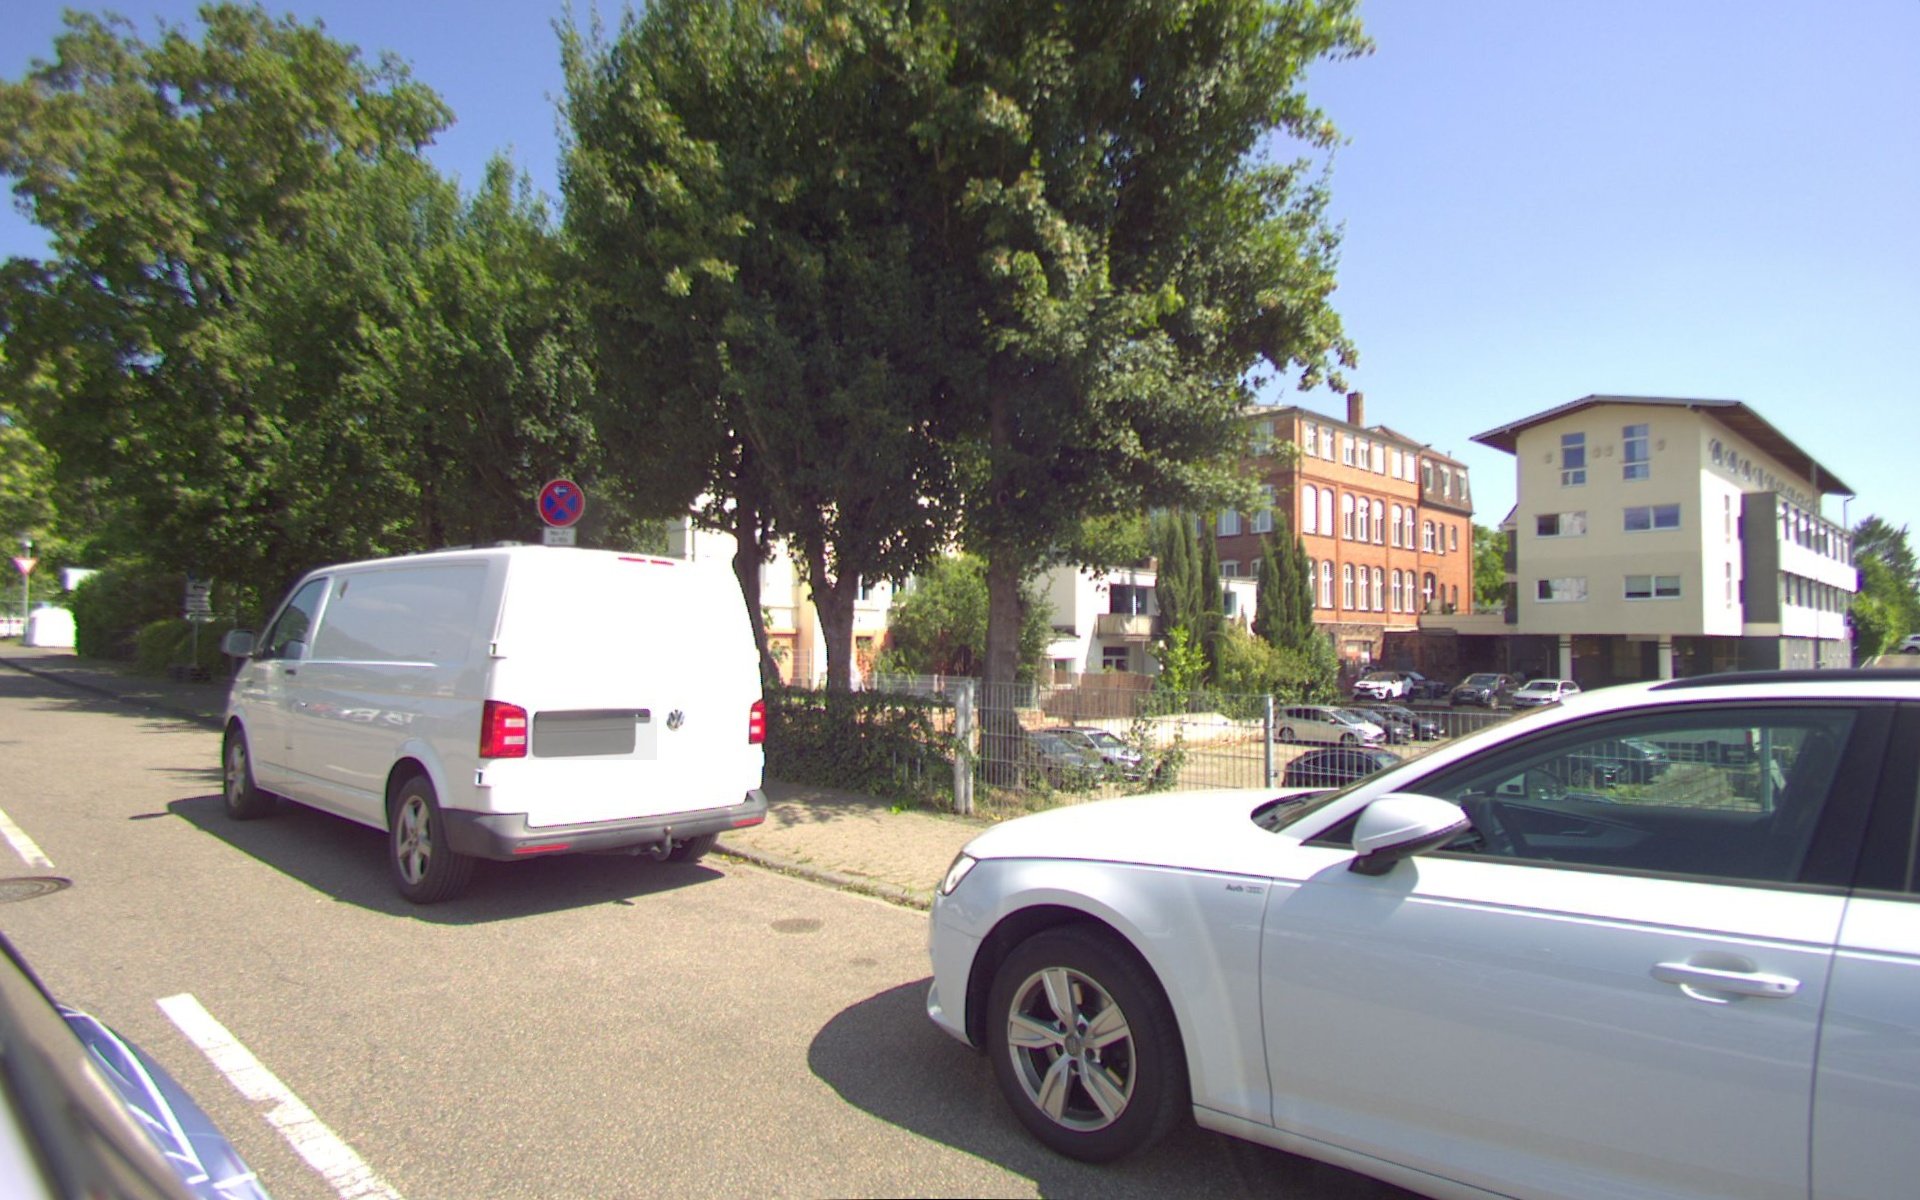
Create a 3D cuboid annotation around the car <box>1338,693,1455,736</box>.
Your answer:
[{"bbox_3d":[19.771,5.166,45.998,1.794,1.690,4.608,5,-5,-41],"label":"car"}]

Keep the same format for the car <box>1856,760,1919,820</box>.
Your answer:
[{"bbox_3d":[29.597,5.859,30.560,1.764,1.529,3.603,5,-3,-41],"label":"car"}]

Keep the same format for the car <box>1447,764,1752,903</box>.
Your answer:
[{"bbox_3d":[10.628,3.784,17.051,1.781,1.453,4.006,2,-2,-40],"label":"car"}]

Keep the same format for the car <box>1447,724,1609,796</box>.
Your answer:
[{"bbox_3d":[17.707,4.929,31.636,1.970,1.697,4.004,5,-3,-43],"label":"car"}]

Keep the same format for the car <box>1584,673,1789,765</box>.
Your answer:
[{"bbox_3d":[27.440,4.395,38.424,2.405,2.898,5.943,4,-3,-40],"label":"car"}]

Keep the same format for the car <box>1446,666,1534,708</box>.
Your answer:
[{"bbox_3d":[24.960,4.069,47.627,4.529,1.690,2.119,2,-1,-40],"label":"car"}]

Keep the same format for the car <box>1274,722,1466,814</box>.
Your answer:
[{"bbox_3d":[10.239,4.132,25.459,1.970,1.697,4.004,5,-3,-43],"label":"car"}]

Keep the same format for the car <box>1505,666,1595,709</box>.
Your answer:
[{"bbox_3d":[26.711,3.921,45.788,4.529,1.690,2.119,2,-2,-40],"label":"car"}]

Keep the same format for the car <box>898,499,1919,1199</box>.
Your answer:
[{"bbox_3d":[2.066,0.649,2.486,4.395,1.555,1.697,0,-3,39],"label":"car"}]

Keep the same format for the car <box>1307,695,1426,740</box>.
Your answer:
[{"bbox_3d":[17.945,5.168,44.839,1.794,1.690,4.608,5,-5,-41],"label":"car"}]

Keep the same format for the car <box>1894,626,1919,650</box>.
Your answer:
[{"bbox_3d":[72.354,2.814,74.972,4.604,1.690,2.085,-2,-1,44],"label":"car"}]

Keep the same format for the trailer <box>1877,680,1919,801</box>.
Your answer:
[{"bbox_3d":[36.520,5.135,37.755,6.778,4.025,2.759,2,-3,-43],"label":"trailer"}]

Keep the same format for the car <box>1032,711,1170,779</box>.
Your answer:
[{"bbox_3d":[4.469,4.592,32.518,1.970,1.697,4.004,5,-3,-43],"label":"car"}]

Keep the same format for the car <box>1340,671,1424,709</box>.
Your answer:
[{"bbox_3d":[21.603,4.556,51.717,4.529,1.690,2.119,2,-2,-40],"label":"car"}]

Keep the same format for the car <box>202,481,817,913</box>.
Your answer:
[{"bbox_3d":[-3.454,0.518,7.169,5.053,2.029,1.951,0,-4,41],"label":"car"}]

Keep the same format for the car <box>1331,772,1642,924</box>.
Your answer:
[{"bbox_3d":[8.183,3.771,16.011,1.781,1.453,4.006,2,-2,-40],"label":"car"}]

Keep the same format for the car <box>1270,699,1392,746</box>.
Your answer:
[{"bbox_3d":[15.743,5.176,43.148,1.794,1.690,4.608,5,-5,-41],"label":"car"}]

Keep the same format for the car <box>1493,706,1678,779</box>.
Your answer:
[{"bbox_3d":[20.922,4.696,34.051,1.969,2.037,4.933,5,-5,-41],"label":"car"}]
